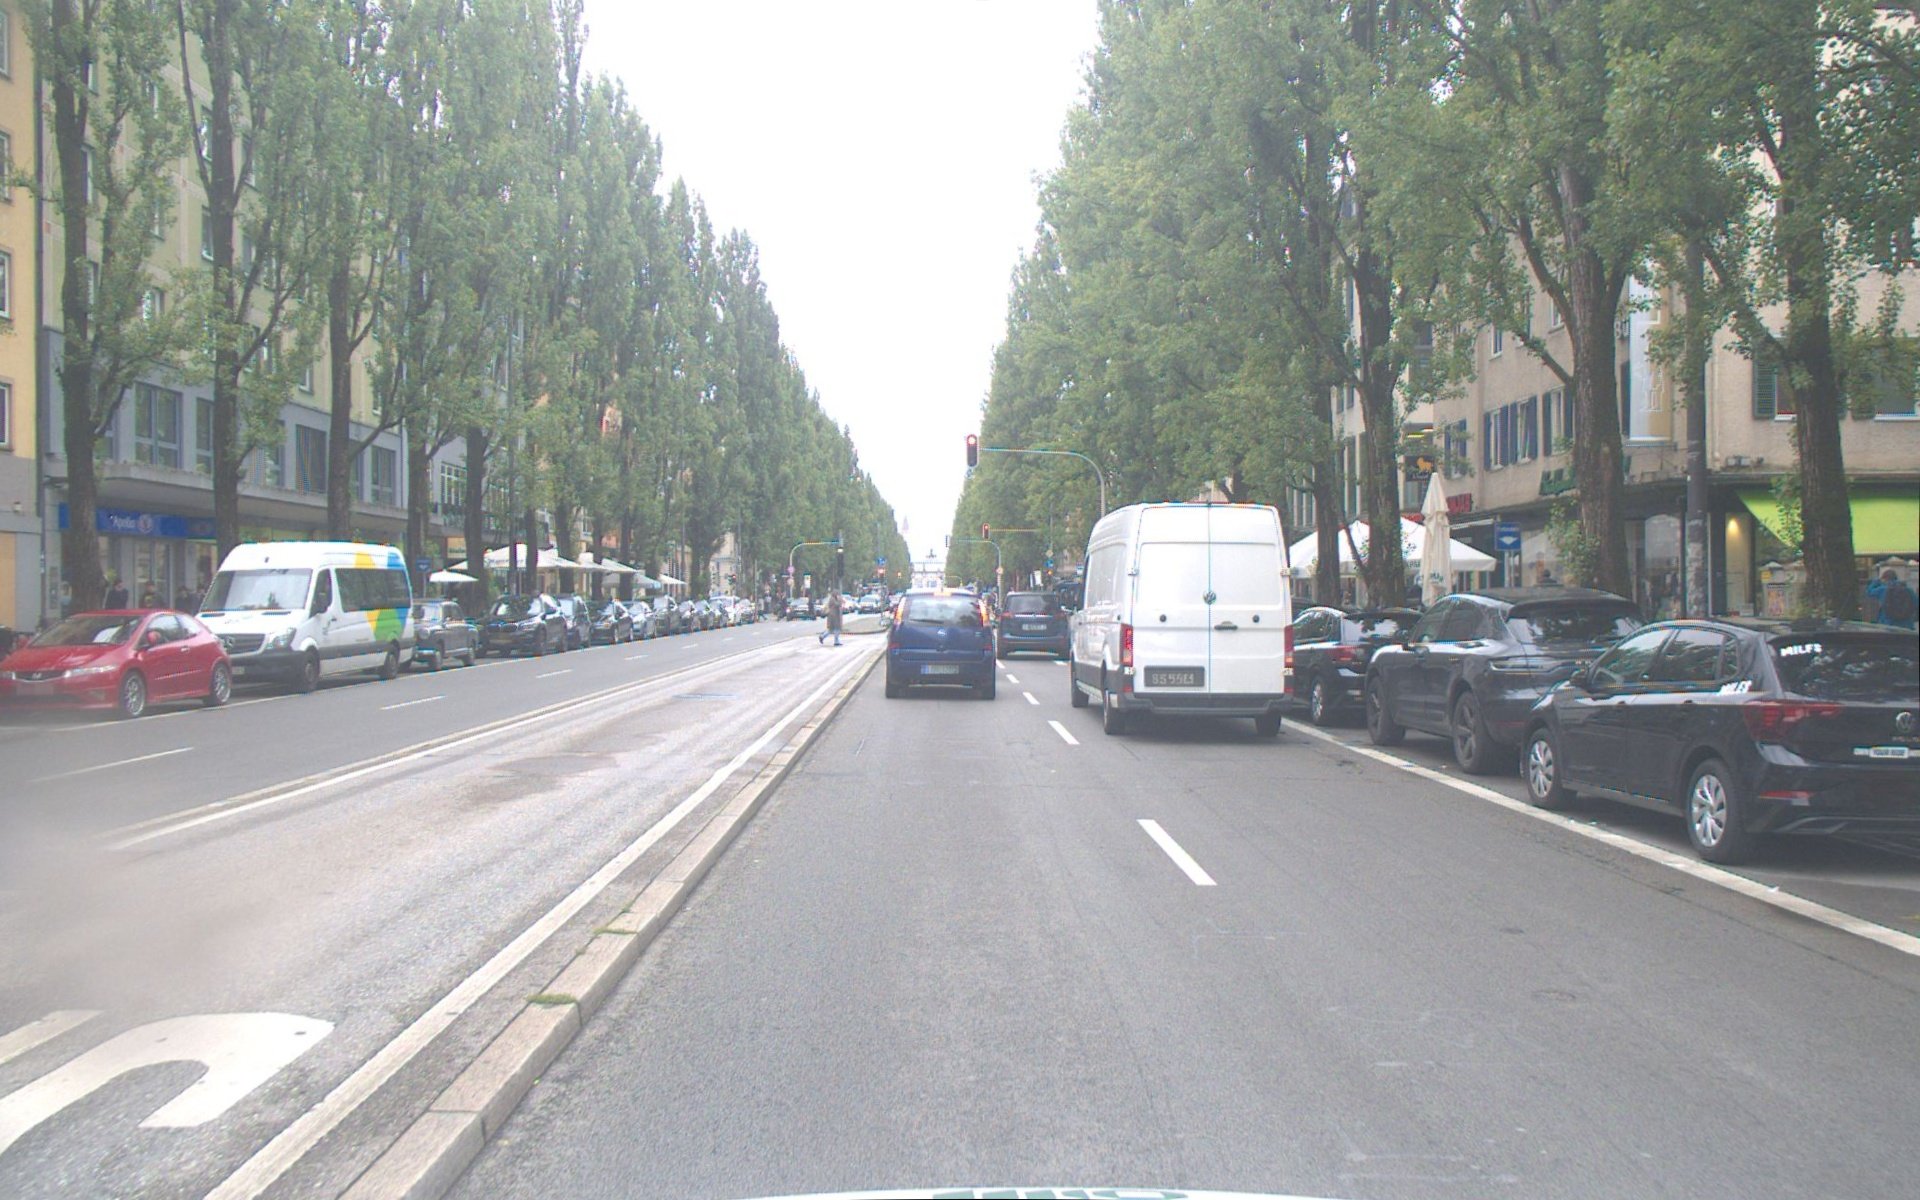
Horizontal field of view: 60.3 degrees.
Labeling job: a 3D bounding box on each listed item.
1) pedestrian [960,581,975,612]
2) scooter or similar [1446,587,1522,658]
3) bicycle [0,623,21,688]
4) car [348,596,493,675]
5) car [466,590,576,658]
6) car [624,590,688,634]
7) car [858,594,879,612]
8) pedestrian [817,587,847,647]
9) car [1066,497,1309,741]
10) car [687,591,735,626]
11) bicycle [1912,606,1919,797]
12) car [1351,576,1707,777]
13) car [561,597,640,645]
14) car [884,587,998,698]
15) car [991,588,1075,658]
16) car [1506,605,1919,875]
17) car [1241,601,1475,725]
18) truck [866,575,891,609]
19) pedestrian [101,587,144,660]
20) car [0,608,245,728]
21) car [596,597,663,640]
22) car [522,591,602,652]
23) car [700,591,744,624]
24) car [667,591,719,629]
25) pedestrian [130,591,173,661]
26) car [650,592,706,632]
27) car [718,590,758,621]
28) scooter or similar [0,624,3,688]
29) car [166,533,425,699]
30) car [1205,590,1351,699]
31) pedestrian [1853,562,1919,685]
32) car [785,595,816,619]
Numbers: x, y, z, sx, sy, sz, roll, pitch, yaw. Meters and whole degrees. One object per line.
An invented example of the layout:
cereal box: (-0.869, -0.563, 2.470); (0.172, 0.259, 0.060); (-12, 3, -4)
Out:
pedestrian: (0.423, -0.205, 99.476); (0.707, 1.859, 0.885); (1, -1, -11)
scooter or similar: (11.067, 0.455, 35.006); (0.624, 1.400, 2.493); (-2, 1, -5)
bicycle: (-16.437, 0.923, 27.167); (1.738, 1.044, 0.421); (-1, 0, -4)
car: (-12.046, 0.746, 37.220); (1.828, 1.579, 4.413); (-2, 0, -1)
car: (-11.993, 0.613, 45.505); (1.828, 1.693, 4.610); (-2, 0, -1)
car: (-12.360, 0.466, 67.552); (1.828, 1.694, 4.400); (-2, 0, -1)
car: (-7.952, 0.263, 143.881); (1.699, 1.491, 3.364); (0, 0, -1)
pedestrian: (-3.660, 0.475, 47.501); (0.843, 1.714, 0.626); (0, 0, -4)
car: (2.609, 0.179, 20.727); (2.021, 2.536, 6.729); (0, 0, -1)
car: (-12.669, 0.416, 84.242); (1.828, 1.694, 4.119); (-2, 0, -1)
bicycle: (7.308, 0.728, 10.744); (0.757, 1.372, 2.448); (-1, 0, -1)
car: (5.318, 0.642, 16.127); (1.767, 1.666, 4.445); (1, 0, -3)
car: (-12.211, 0.689, 56.376); (1.762, 1.515, 4.349); (-2, 0, -1)
car: (-0.299, 0.604, 25.831); (1.637, 1.596, 3.999); (1, 0, -1)
car: (1.764, 0.529, 41.059); (1.858, 1.650, 3.999); (1, 0, -1)
car: (5.210, 0.773, 11.065); (1.660, 1.441, 3.949); (0, 0, -3)
car: (5.044, 0.748, 21.569); (1.676, 1.418, 4.339); (0, 0, -5)
truck: (-8.503, -0.825, 173.533); (2.334, 3.405, 7.109); (0, 0, -1)
pedestrian: (-21.141, 0.579, 41.769); (0.683, 1.826, 0.727); (-1, 0, 3)
car: (-11.753, 0.879, 23.173); (1.702, 1.444, 4.147); (-2, 0, -1)
car: (-12.283, 0.667, 61.772); (1.698, 1.450, 4.142); (-2, 0, -1)
car: (-12.207, 0.617, 50.922); (1.676, 1.751, 3.919); (-2, 0, -4)
car: (-12.838, 0.388, 89.499); (1.828, 1.694, 4.119); (-2, 0, -1)
car: (-12.665, 0.468, 78.715); (1.828, 1.694, 4.119); (-2, 0, -1)
pedestrian: (-20.375, 0.653, 41.691); (0.683, 1.729, 0.727); (-1, 0, 3)
car: (-12.536, 0.502, 73.722); (1.828, 1.694, 4.119); (-2, 0, -1)
car: (-12.975, 0.318, 96.773); (1.828, 1.694, 4.119); (-2, 0, -1)
scooter or similar: (-16.372, 0.921, 26.531); (1.738, 1.044, 0.421); (-1, 0, -4)
car: (-11.828, 0.241, 30.126); (1.965, 2.612, 6.910); (-2, 0, -1)
car: (4.805, 0.641, 25.290); (1.560, 1.544, 2.728); (1, 0, -3)
pedestrian: (13.281, 0.326, 23.414); (0.781, 1.707, 0.877); (0, 0, -1)
car: (-10.684, 0.454, 111.172); (1.663, 1.488, 4.712); (-2, 0, -1)
